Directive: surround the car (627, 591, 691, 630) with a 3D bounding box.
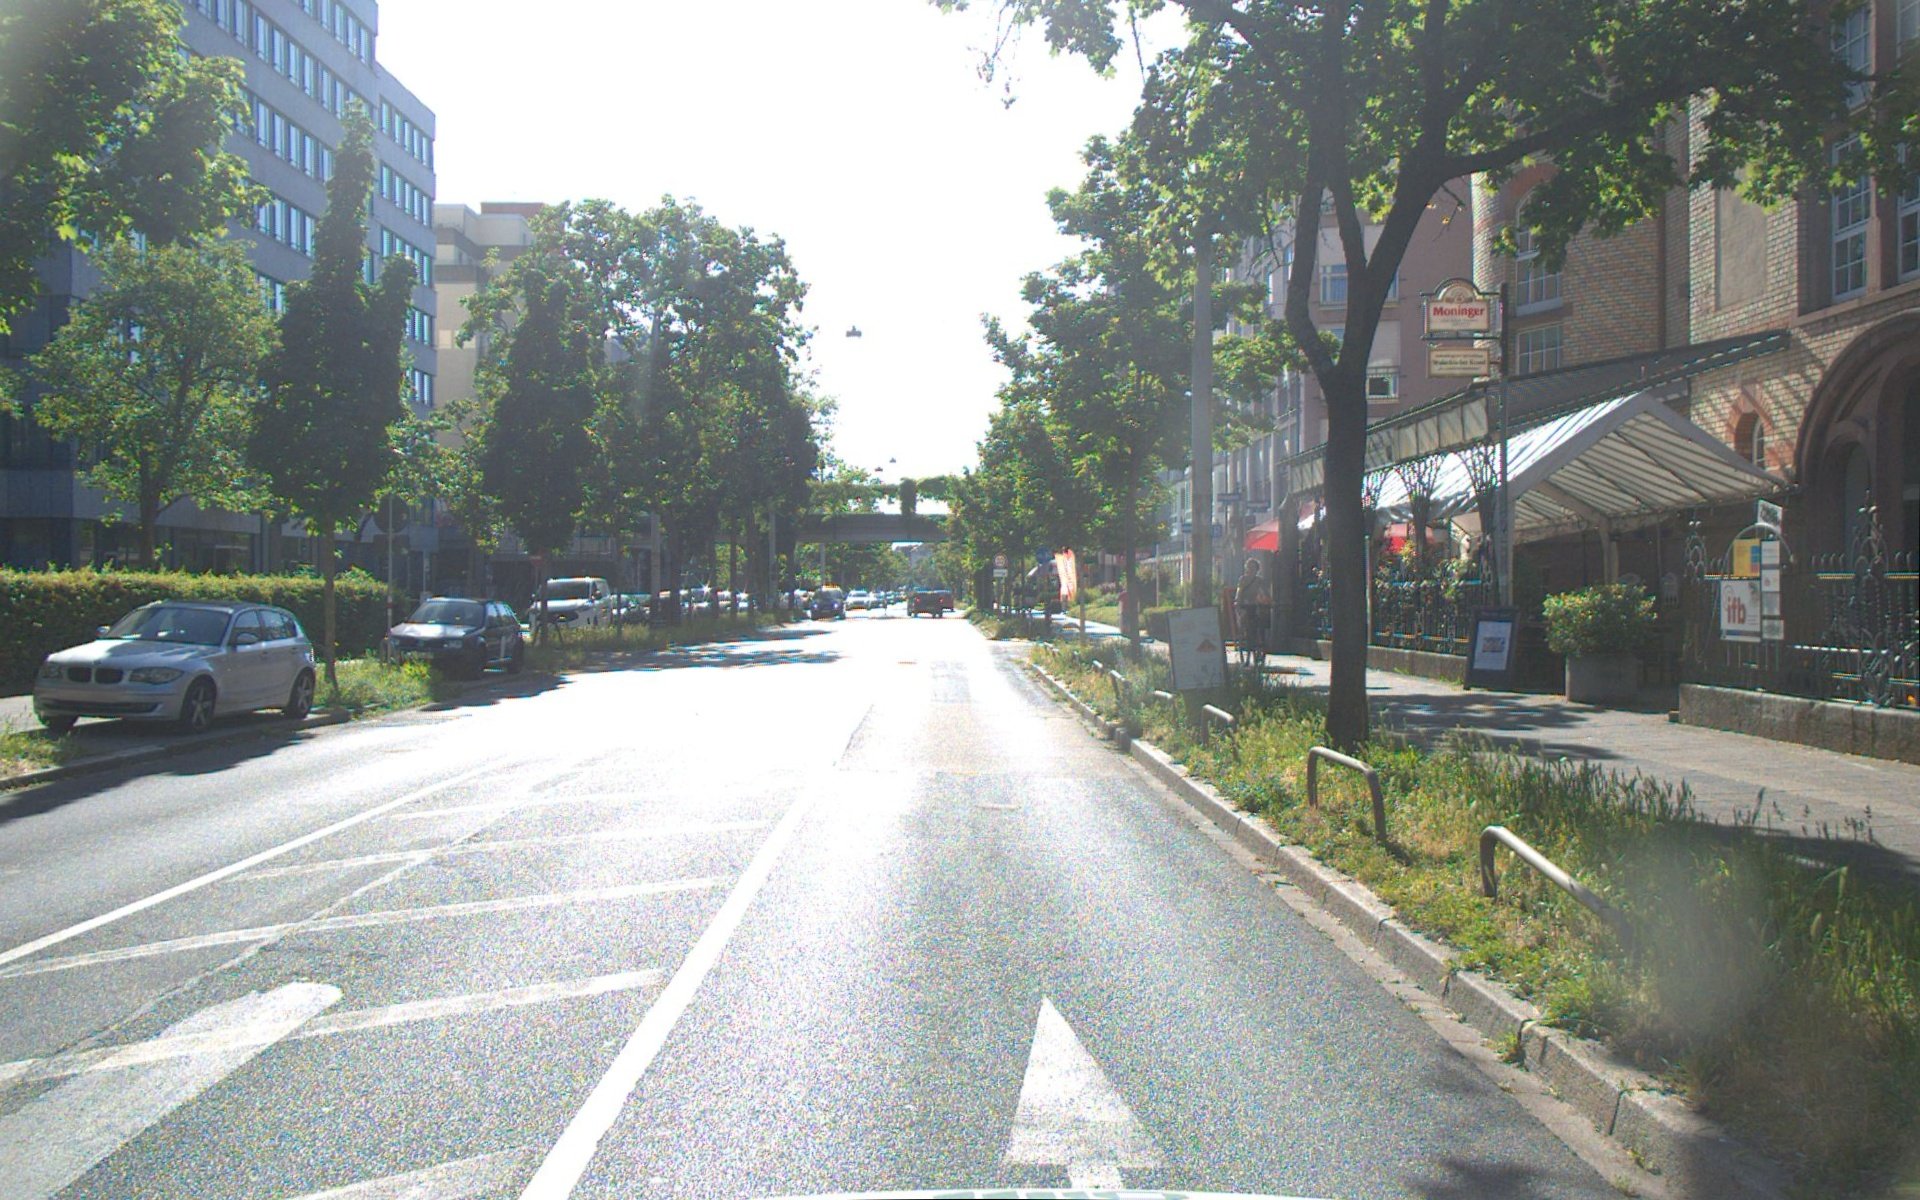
[{"bbox_3d":[-12.313,0.406,67.887,1.817,1.549,4.063,1,0,0],"label":"car"}]

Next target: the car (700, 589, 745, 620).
[{"bbox_3d":[-12.469,0.210,86.991,1.818,1.595,3.871,1,0,-1],"label":"car"}]

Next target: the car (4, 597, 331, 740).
[{"bbox_3d":[-8.995,0.707,19.208,1.653,1.407,4.192,2,0,1],"label":"car"}]

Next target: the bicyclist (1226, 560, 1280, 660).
[{"bbox_3d":[4.867,0.164,27.519,0.686,1.627,0.954,0,-1,-2],"label":"bicyclist"}]

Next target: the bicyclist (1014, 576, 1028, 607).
[{"bbox_3d":[3.392,-0.452,92.111,0.654,1.725,0.888,0,-1,-3],"label":"bicyclist"}]

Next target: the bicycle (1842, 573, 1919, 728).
[{"bbox_3d":[8.333,0.394,13.338,2.154,1.199,0.686,0,-1,-7],"label":"bicycle"}]

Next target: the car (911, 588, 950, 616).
[{"bbox_3d":[-1.818,0.100,100.311,1.947,1.628,4.135,0,0,-6],"label":"car"}]

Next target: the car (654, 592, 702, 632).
[{"bbox_3d":[-12.445,0.514,73.160,1.820,1.713,4.658,1,0,-6],"label":"car"}]

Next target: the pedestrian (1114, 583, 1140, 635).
[{"bbox_3d":[5.345,0.292,52.874,0.641,1.632,0.602,-3,-1,-7],"label":"pedestrian"}]

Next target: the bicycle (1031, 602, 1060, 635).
[{"bbox_3d":[2.916,0.623,56.220,0.578,1.084,2.024,0,0,15],"label":"bicycle"}]

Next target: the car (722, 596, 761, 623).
[{"bbox_3d":[-12.752,0.534,96.704,1.818,1.549,4.317,1,0,-2],"label":"car"}]

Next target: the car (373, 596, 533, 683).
[{"bbox_3d":[-9.318,0.688,30.732,1.677,1.484,4.072,1,0,0],"label":"car"}]

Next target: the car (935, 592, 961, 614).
[{"bbox_3d":[-0.863,0.220,119.751,1.817,1.549,4.319,1,0,0],"label":"car"}]

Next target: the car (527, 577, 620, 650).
[{"bbox_3d":[-12.105,0.398,52.109,1.942,2.112,5.193,-2,0,-4],"label":"car"}]

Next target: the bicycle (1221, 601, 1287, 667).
[{"bbox_3d":[4.865,0.557,27.485,0.671,1.045,2.095,0,-1,-2],"label":"bicycle"}]

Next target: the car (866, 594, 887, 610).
[{"bbox_3d":[-7.924,0.177,157.396,1.818,1.465,4.317,-2,0,-2],"label":"car"}]

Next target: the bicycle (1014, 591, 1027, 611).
[{"bbox_3d":[3.354,0.063,92.101,0.577,1.045,1.859,0,-1,-2],"label":"bicycle"}]

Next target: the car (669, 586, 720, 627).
[{"bbox_3d":[-12.681,0.292,79.197,1.818,1.882,4.560,1,0,-2],"label":"car"}]

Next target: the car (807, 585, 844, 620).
[{"bbox_3d":[-7.513,0.114,92.510,1.818,1.857,4.608,-2,0,-2],"label":"car"}]

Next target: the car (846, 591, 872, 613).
[{"bbox_3d":[-7.704,0.159,126.806,1.818,1.595,4.714,-2,0,-2],"label":"car"}]

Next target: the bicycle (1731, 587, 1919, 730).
[{"bbox_3d":[7.907,0.492,14.372,2.154,1.199,0.686,0,-1,-7],"label":"bicycle"}]
